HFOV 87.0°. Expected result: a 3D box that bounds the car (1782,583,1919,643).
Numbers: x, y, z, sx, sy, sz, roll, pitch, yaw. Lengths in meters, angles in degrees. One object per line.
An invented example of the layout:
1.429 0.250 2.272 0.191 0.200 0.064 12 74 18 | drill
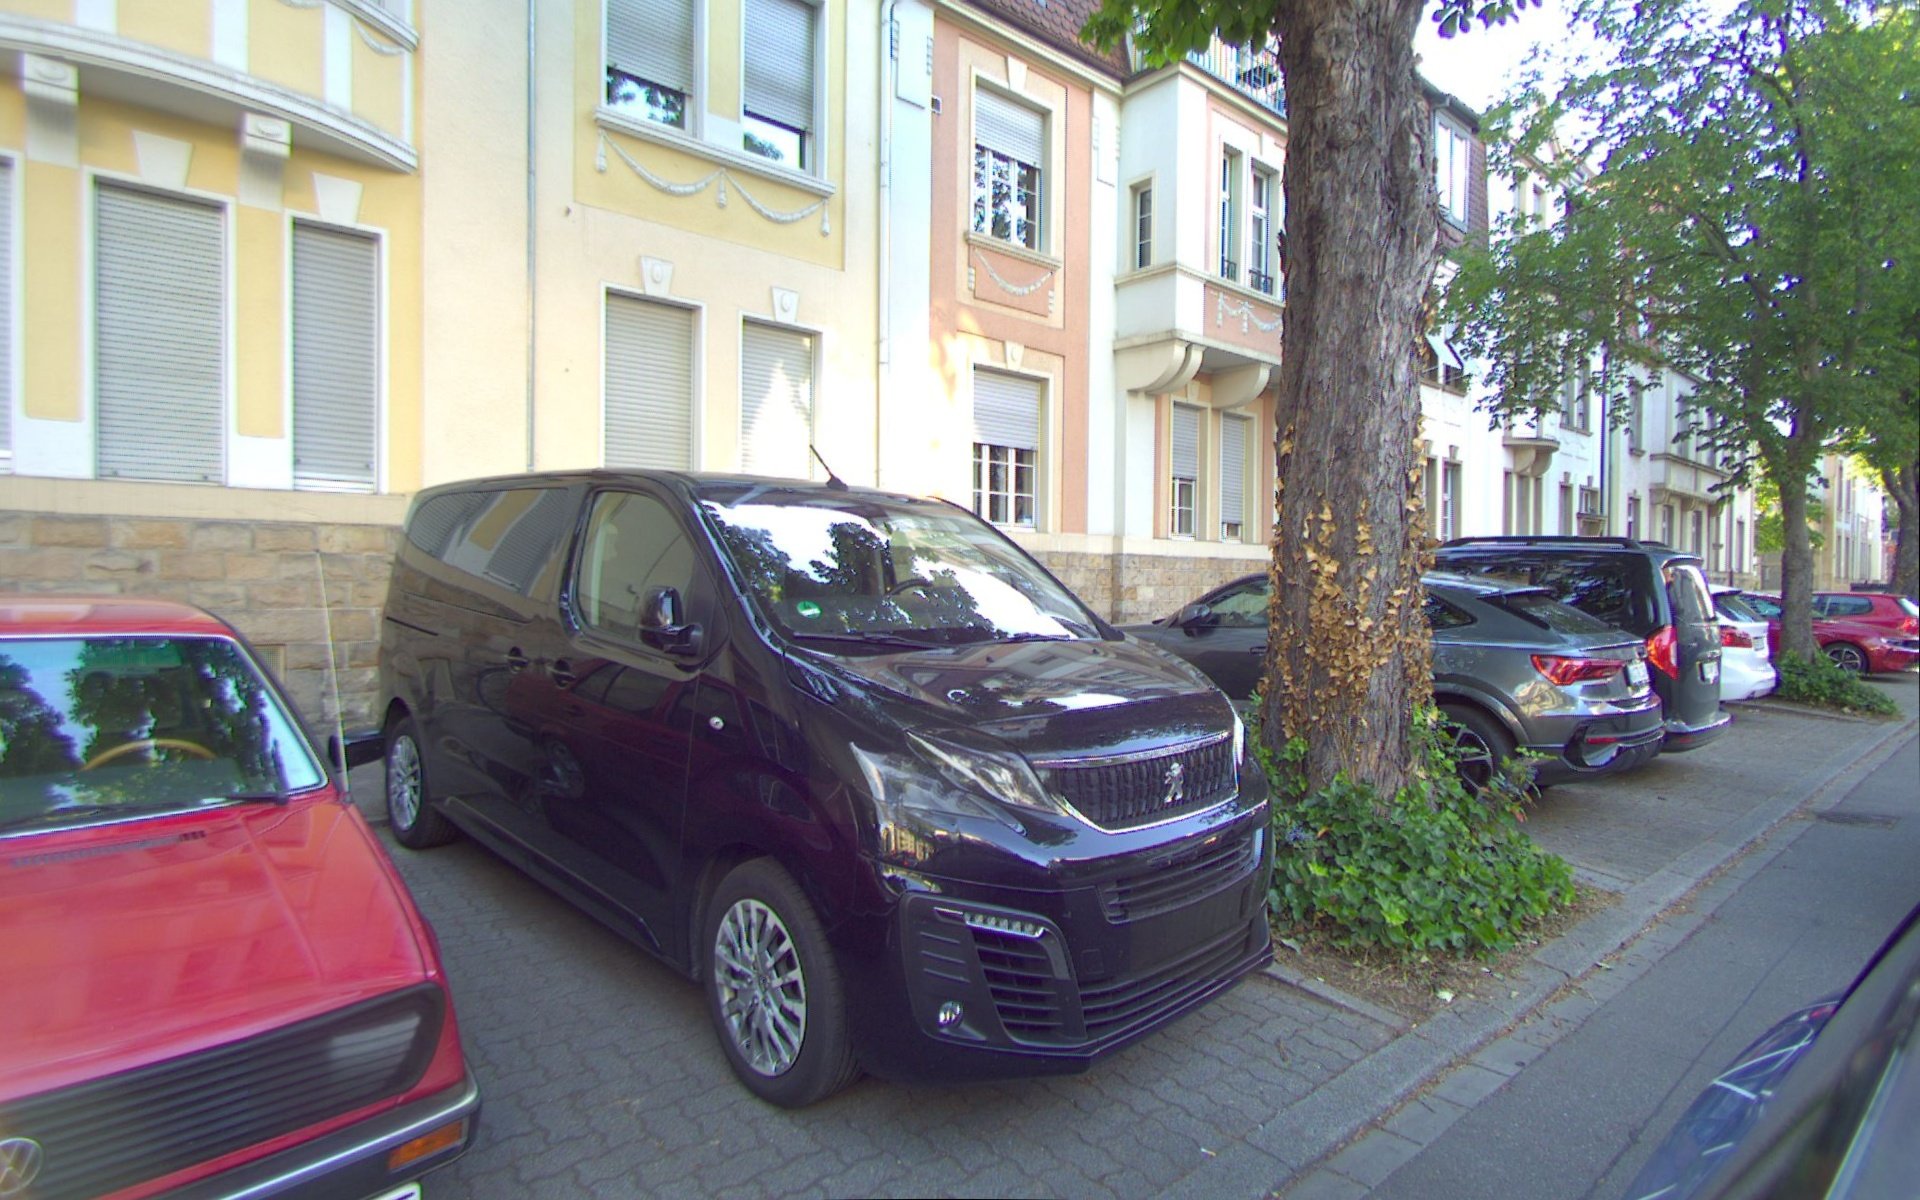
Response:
24.001 0.320 26.412 1.548 1.416 3.681 0 3 -39 | car

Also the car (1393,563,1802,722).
7.700 0.377 12.523 1.689 1.597 3.948 0 3 -41 | car

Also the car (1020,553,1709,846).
2.742 0.454 7.700 1.815 1.542 4.513 -1 3 -44 | car

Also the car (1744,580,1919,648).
21.849 0.298 24.974 1.548 1.484 3.681 0 3 -39 | car

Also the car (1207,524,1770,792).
4.516 0.308 9.143 1.814 1.860 4.116 0 3 -42 | car

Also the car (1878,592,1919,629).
31.891 0.381 32.468 1.515 1.164 3.399 0 3 -39 | car

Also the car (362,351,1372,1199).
-0.941 0.325 4.473 1.867 1.897 4.753 -1 3 -44 | car

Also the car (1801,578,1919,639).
25.866 0.232 28.032 1.548 1.576 3.681 0 3 -39 | car

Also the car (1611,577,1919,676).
14.782 0.383 18.462 1.833 1.470 4.533 0 3 -38 | car

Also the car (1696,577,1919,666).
16.892 0.354 19.818 1.628 1.499 3.682 0 3 -38 | car

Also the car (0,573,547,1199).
-2.876 0.629 3.032 1.603 1.332 4.139 -1 3 -44 | car

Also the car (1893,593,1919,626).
34.271 0.380 34.532 1.515 1.076 3.399 0 3 -39 | car
